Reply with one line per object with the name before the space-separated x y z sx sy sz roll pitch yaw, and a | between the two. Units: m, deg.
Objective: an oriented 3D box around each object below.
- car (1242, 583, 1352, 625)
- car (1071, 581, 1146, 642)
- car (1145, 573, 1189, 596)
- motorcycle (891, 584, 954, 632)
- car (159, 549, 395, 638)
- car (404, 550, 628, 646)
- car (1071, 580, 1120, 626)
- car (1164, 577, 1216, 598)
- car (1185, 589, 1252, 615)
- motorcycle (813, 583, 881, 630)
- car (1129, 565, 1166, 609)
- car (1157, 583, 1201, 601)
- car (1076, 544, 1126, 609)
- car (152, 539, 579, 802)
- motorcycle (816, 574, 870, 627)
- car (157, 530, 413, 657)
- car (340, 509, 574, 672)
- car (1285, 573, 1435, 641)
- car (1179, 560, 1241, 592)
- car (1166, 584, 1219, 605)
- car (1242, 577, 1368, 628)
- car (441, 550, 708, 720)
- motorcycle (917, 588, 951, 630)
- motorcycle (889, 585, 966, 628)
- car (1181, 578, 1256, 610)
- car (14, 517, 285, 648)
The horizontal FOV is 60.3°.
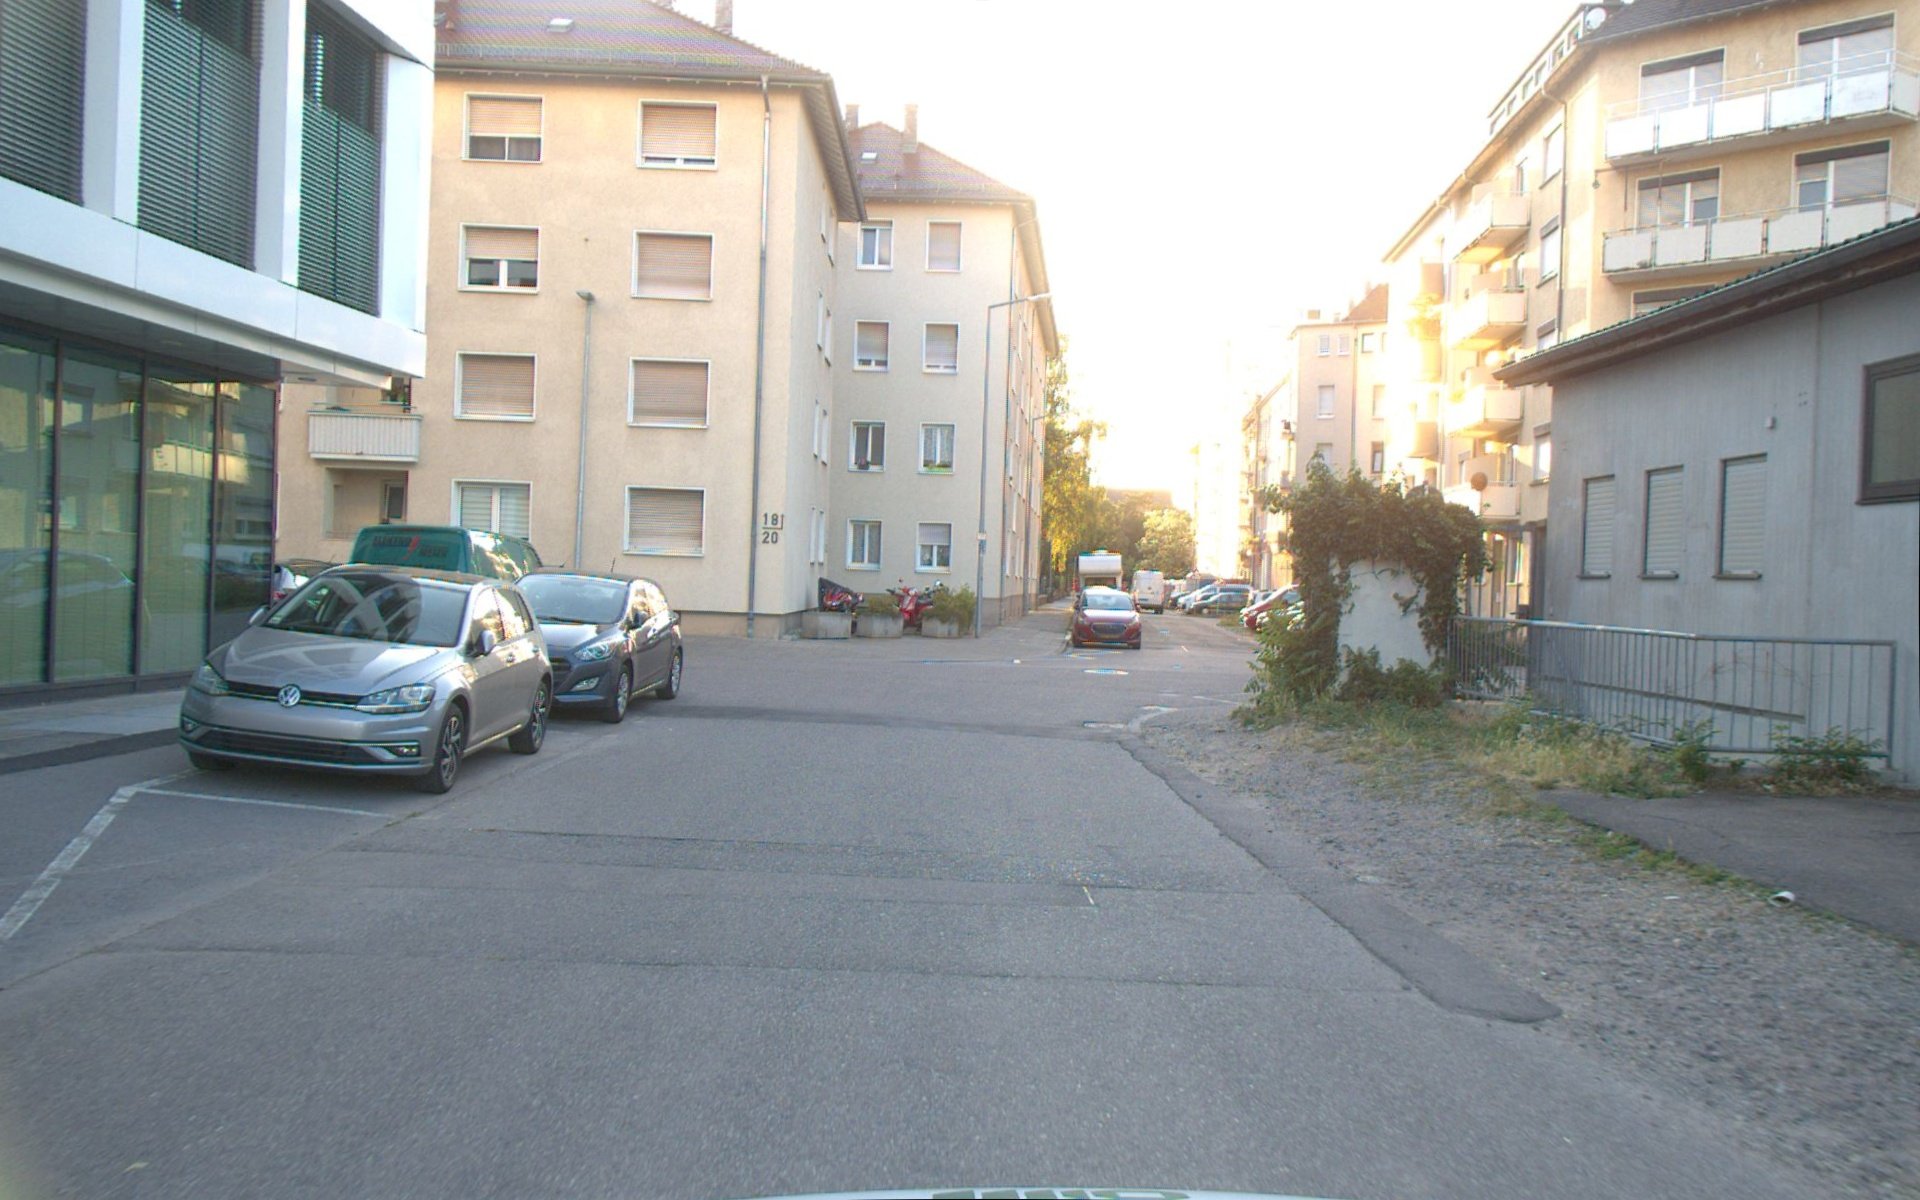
car | 13.778 0.168 67.813 4.233 1.666 1.819 0 0 4
car | 3.949 0.289 44.524 1.806 1.499 4.080 2 0 3
car | 23.005 -1.697 183.937 4.712 2.450 1.740 1 0 4
motorcycle | -0.953 0.209 42.643 0.675 1.180 2.031 2 0 29
car | -13.531 -0.149 32.967 3.928 1.525 1.880 2 5 -5
car | -8.783 -0.064 32.911 3.925 1.645 1.882 2 5 -1
car | 4.645 0.090 56.961 1.582 1.499 3.506 0 0 3
car | 18.058 -0.991 129.916 3.903 1.557 1.660 1 0 4
car | 15.792 0.122 101.206 3.903 1.557 1.660 1 0 4
motorcycle | -2.737 0.161 40.238 0.709 1.098 2.079 2 0 25
car | 12.111 -0.814 106.967 2.084 2.765 4.835 0 0 3
car | 19.925 -0.717 150.586 3.903 1.557 1.660 1 0 4
car | 7.644 -1.244 89.643 2.564 3.326 7.701 0 0 5
car | -4.236 0.418 12.535 1.676 1.504 4.184 5 1 -1
motorcycle | -3.000 0.015 42.536 0.708 1.286 2.082 2 0 15
car | -9.495 -0.029 23.678 1.743 1.577 4.331 2 -1 1
car | -6.972 -0.172 23.474 1.761 2.014 4.690 2 1 1
car | 12.155 0.207 50.439 4.189 1.893 1.742 2 0 5
car | 17.255 -1.633 114.250 3.905 2.049 2.000 2 0 1
car | 17.967 -0.420 127.950 3.903 1.557 1.660 1 0 4
car | 13.497 0.091 64.982 4.623 1.943 2.060 0 0 4
car | -4.126 0.321 18.439 1.743 1.504 4.332 5 1 1
motorcycle | -0.698 0.242 44.955 0.667 1.098 2.036 2 0 6
motorcycle | -0.931 0.181 47.176 2.079 1.124 0.560 2 0 16
car | 16.867 -0.392 108.255 4.712 2.002 1.740 1 0 4
car | -11.723 -0.175 24.288 1.694 1.688 4.331 2 -1 1
